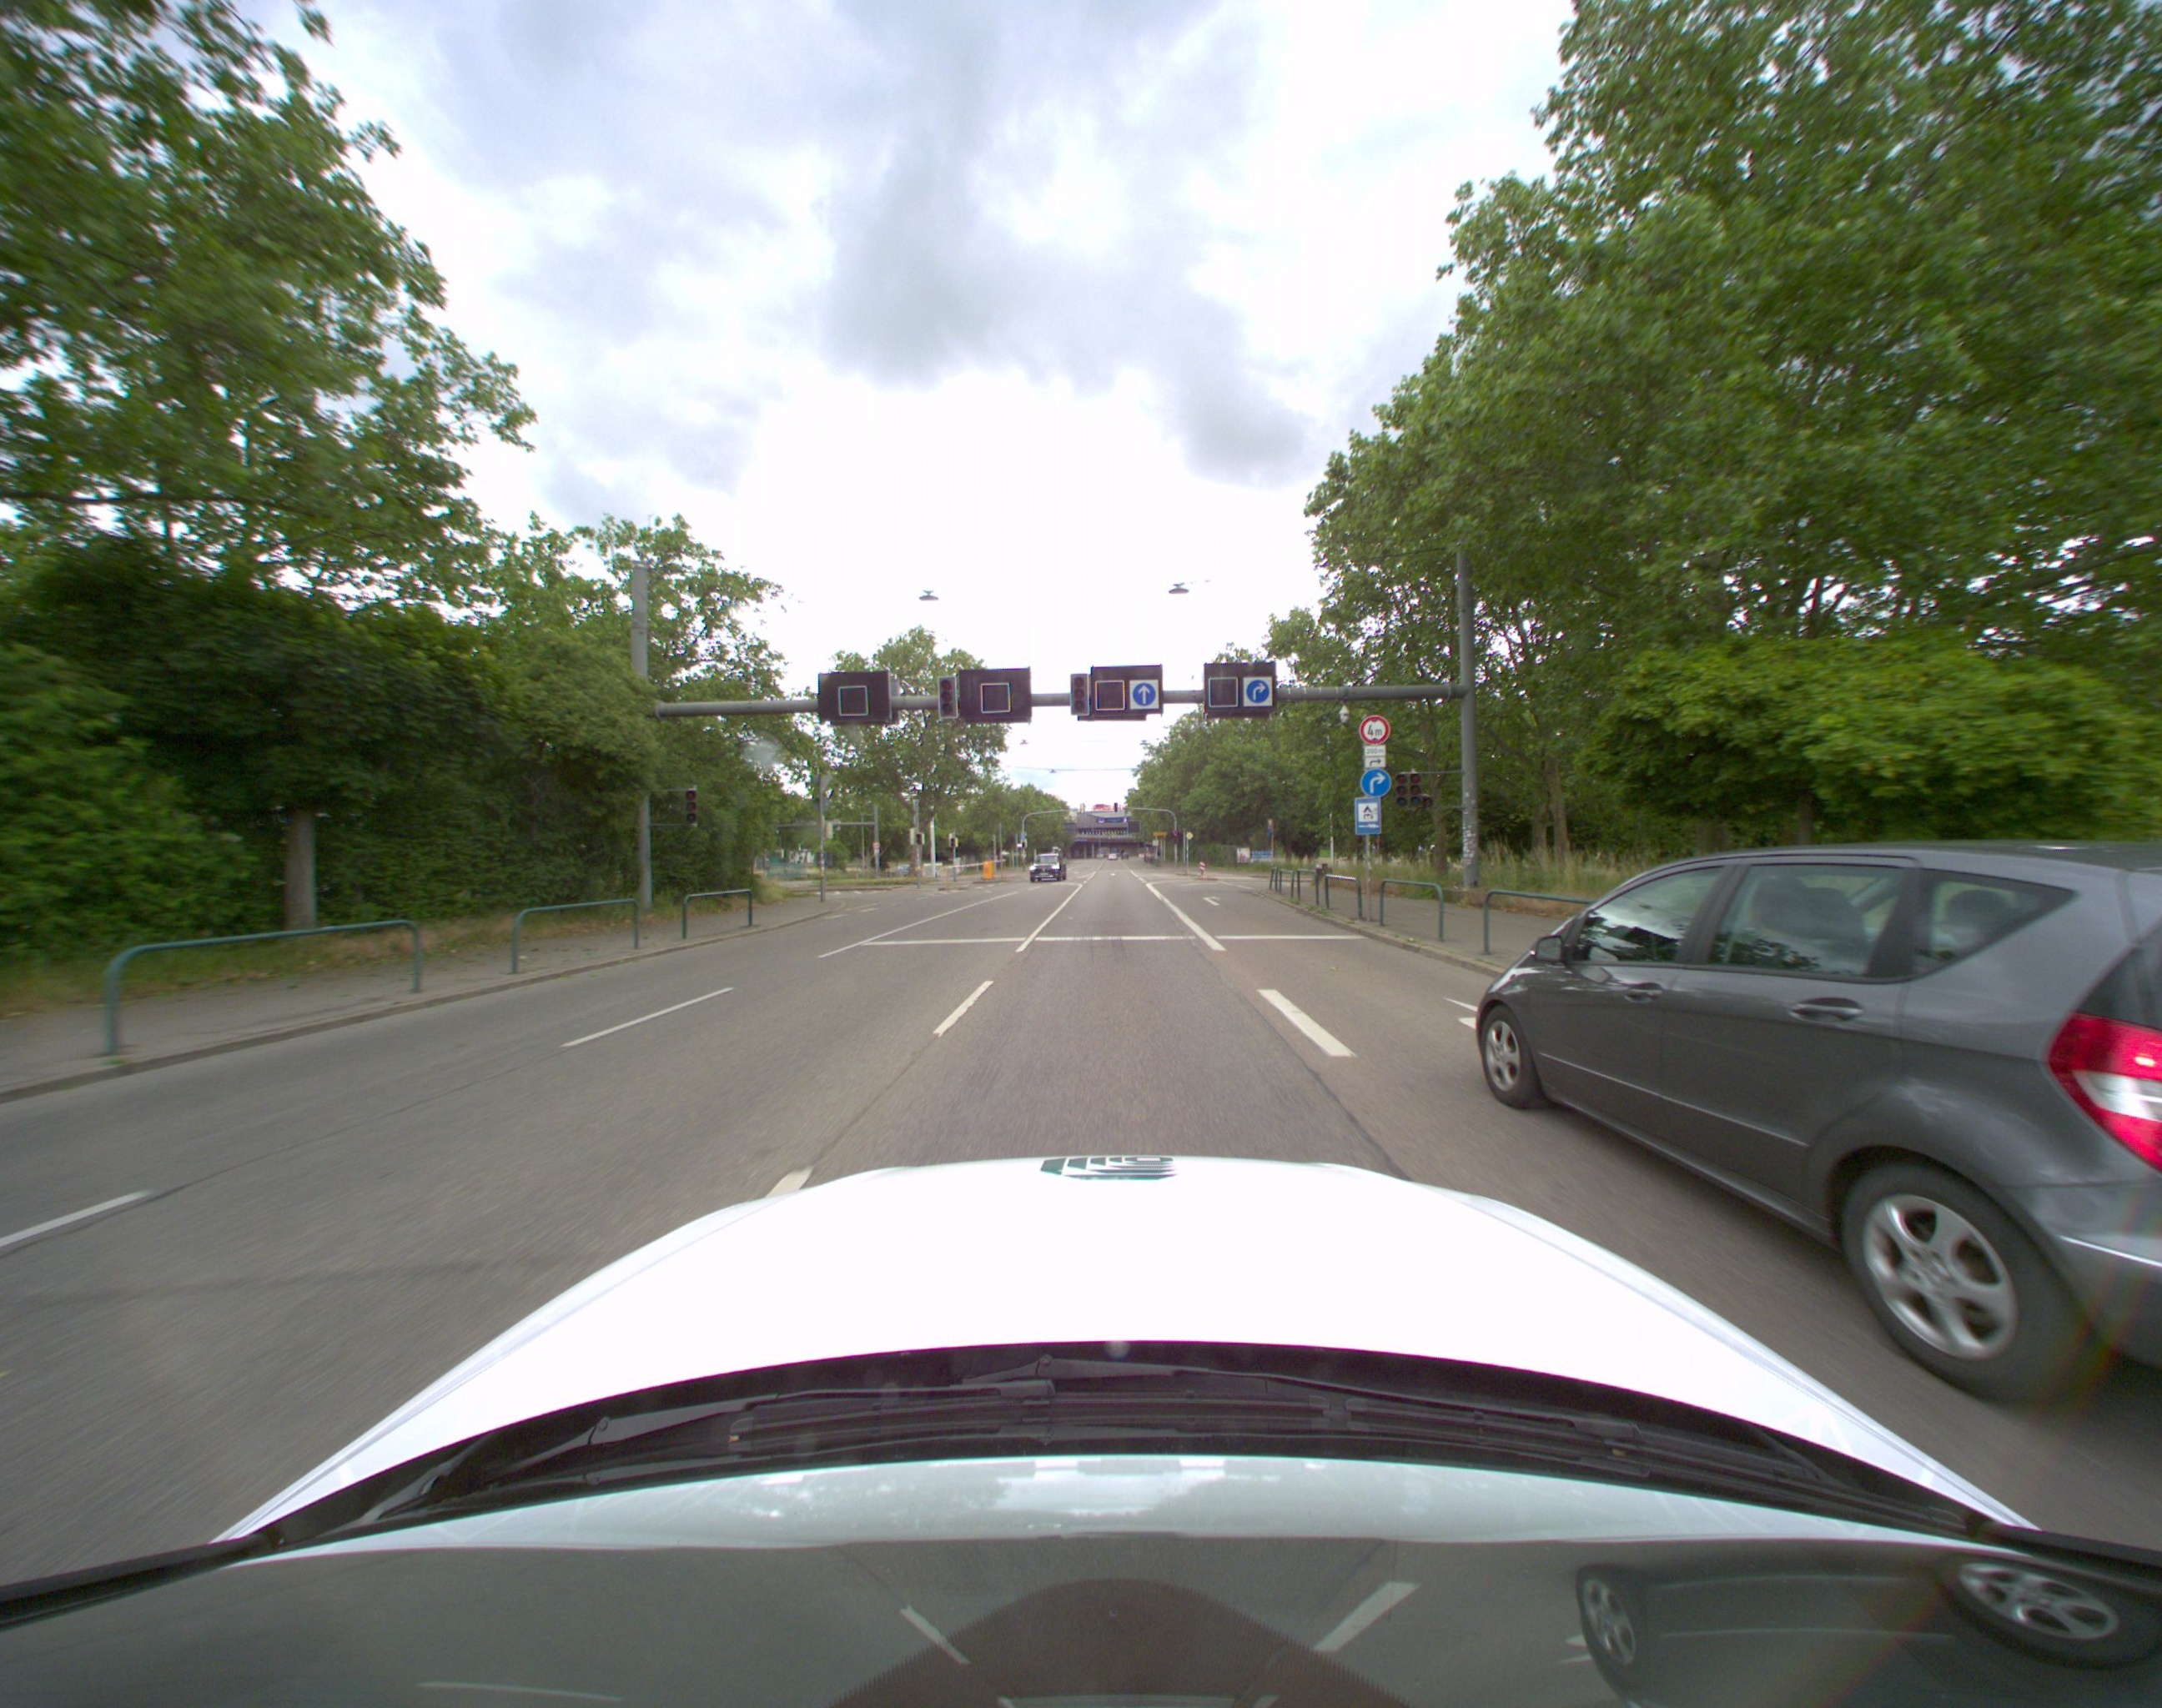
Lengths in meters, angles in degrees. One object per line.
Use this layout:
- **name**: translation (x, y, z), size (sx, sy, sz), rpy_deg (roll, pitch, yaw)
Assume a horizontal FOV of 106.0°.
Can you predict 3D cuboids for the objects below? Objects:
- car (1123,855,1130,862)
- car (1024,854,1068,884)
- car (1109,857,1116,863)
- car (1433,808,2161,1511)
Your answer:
- **car**: translation (12.440, 1.204, 222.091), size (1.999, 1.698, 4.073), rpy_deg (-1, 0, 3)
- **car**: translation (-2.052, 0.870, 49.431), size (1.984, 1.660, 4.523), rpy_deg (-3, 0, 5)
- **car**: translation (7.701, 1.557, 198.459), size (1.771, 1.460, 3.825), rpy_deg (0, 0, 3)
- **car**: translation (3.379, 0.666, 3.863), size (1.819, 1.616, 4.037), rpy_deg (-1, 1, 2)
